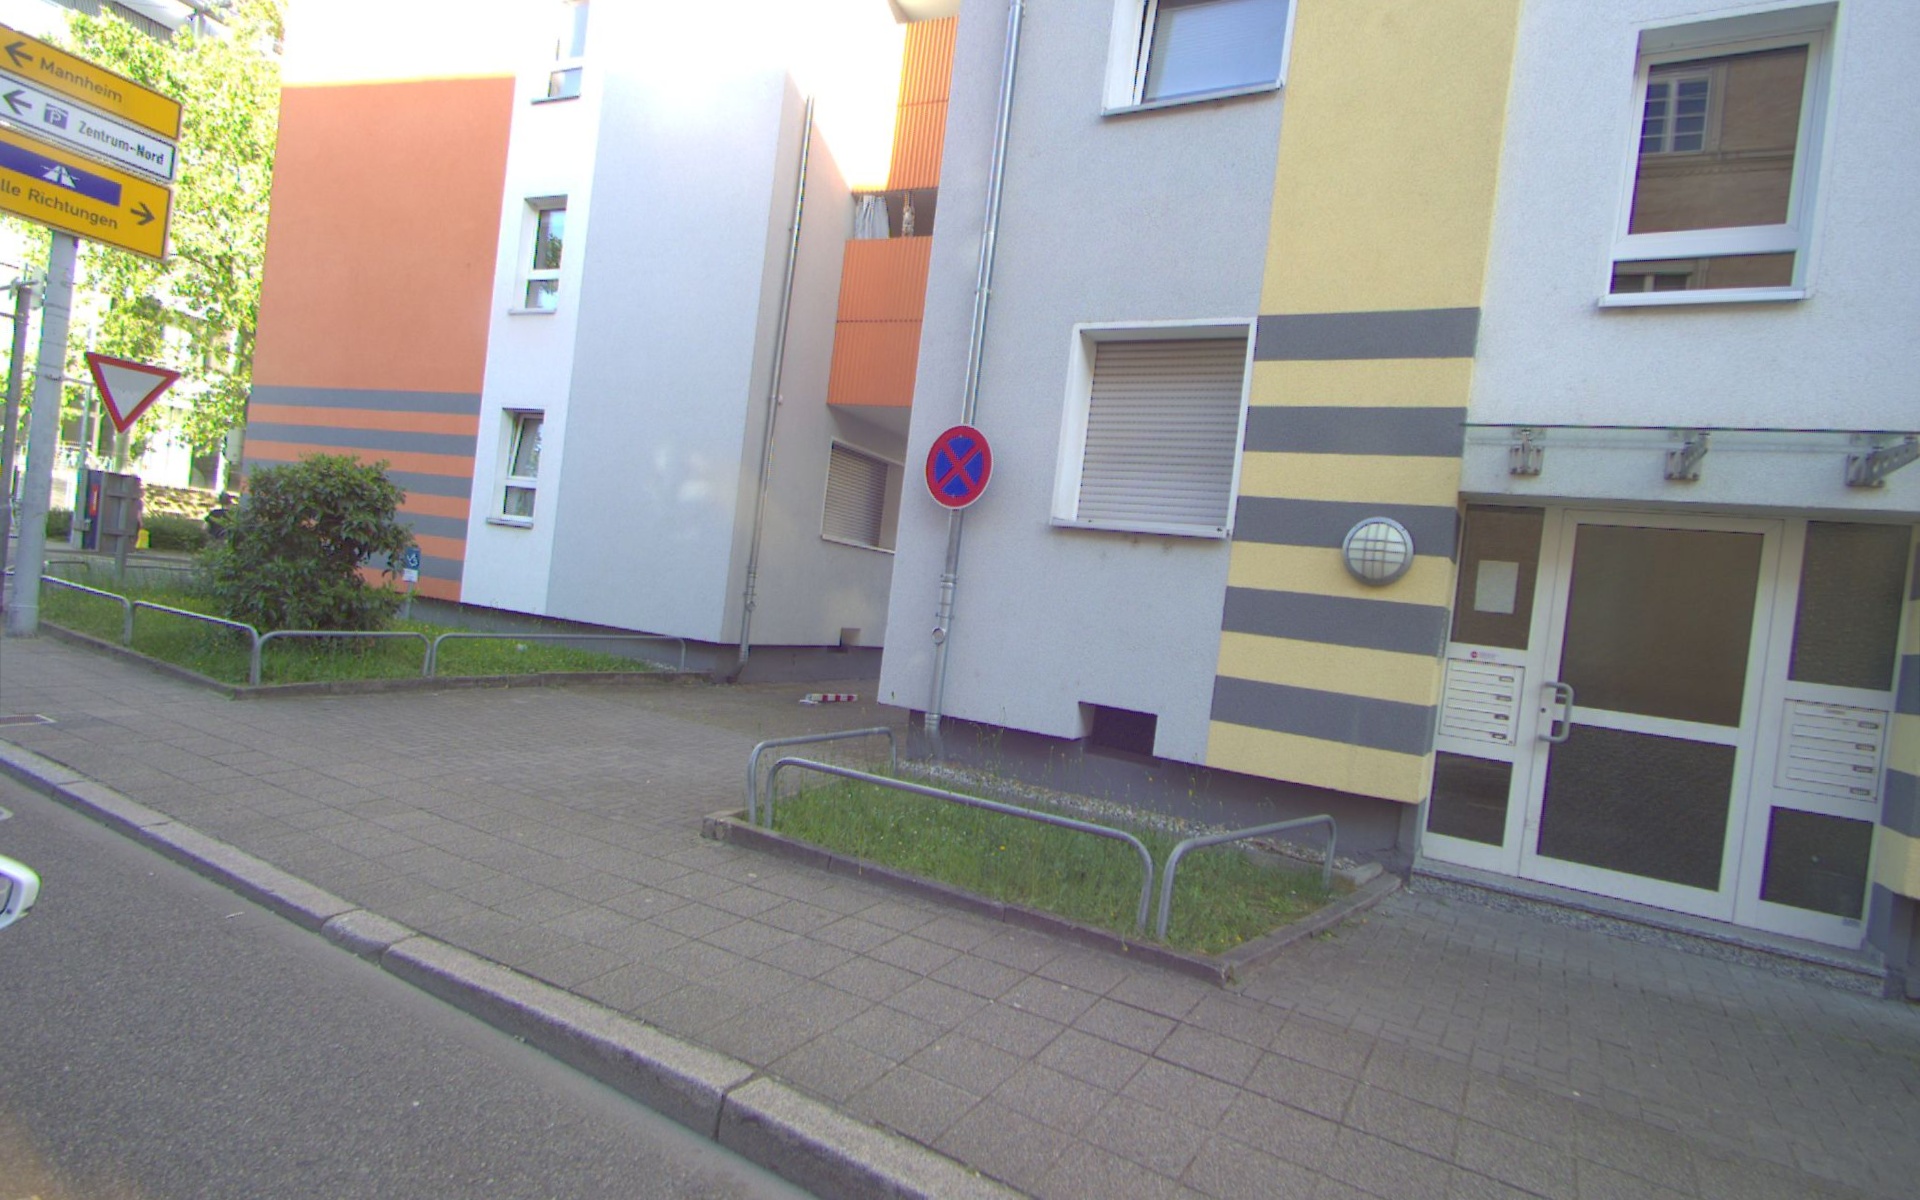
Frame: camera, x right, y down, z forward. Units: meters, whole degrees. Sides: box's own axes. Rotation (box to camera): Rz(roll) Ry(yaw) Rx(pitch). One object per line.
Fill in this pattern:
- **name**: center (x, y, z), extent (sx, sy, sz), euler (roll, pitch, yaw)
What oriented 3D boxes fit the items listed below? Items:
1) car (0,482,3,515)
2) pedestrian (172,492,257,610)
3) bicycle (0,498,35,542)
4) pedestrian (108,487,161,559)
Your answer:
- **car**: center (-18.930, -1.589, 16.428), extent (1.857, 1.494, 4.547), euler (7, 0, 7)
- **pedestrian**: center (-12.662, -0.828, 17.093), extent (0.823, 1.861, 0.708), euler (8, -1, 32)
- **bicycle**: center (-26.288, -2.240, 27.352), extent (1.658, 1.063, 0.508), euler (9, 2, -3)
- **pedestrian**: center (-23.241, -2.159, 28.328), extent (0.698, 1.861, 0.835), euler (8, -1, 35)
